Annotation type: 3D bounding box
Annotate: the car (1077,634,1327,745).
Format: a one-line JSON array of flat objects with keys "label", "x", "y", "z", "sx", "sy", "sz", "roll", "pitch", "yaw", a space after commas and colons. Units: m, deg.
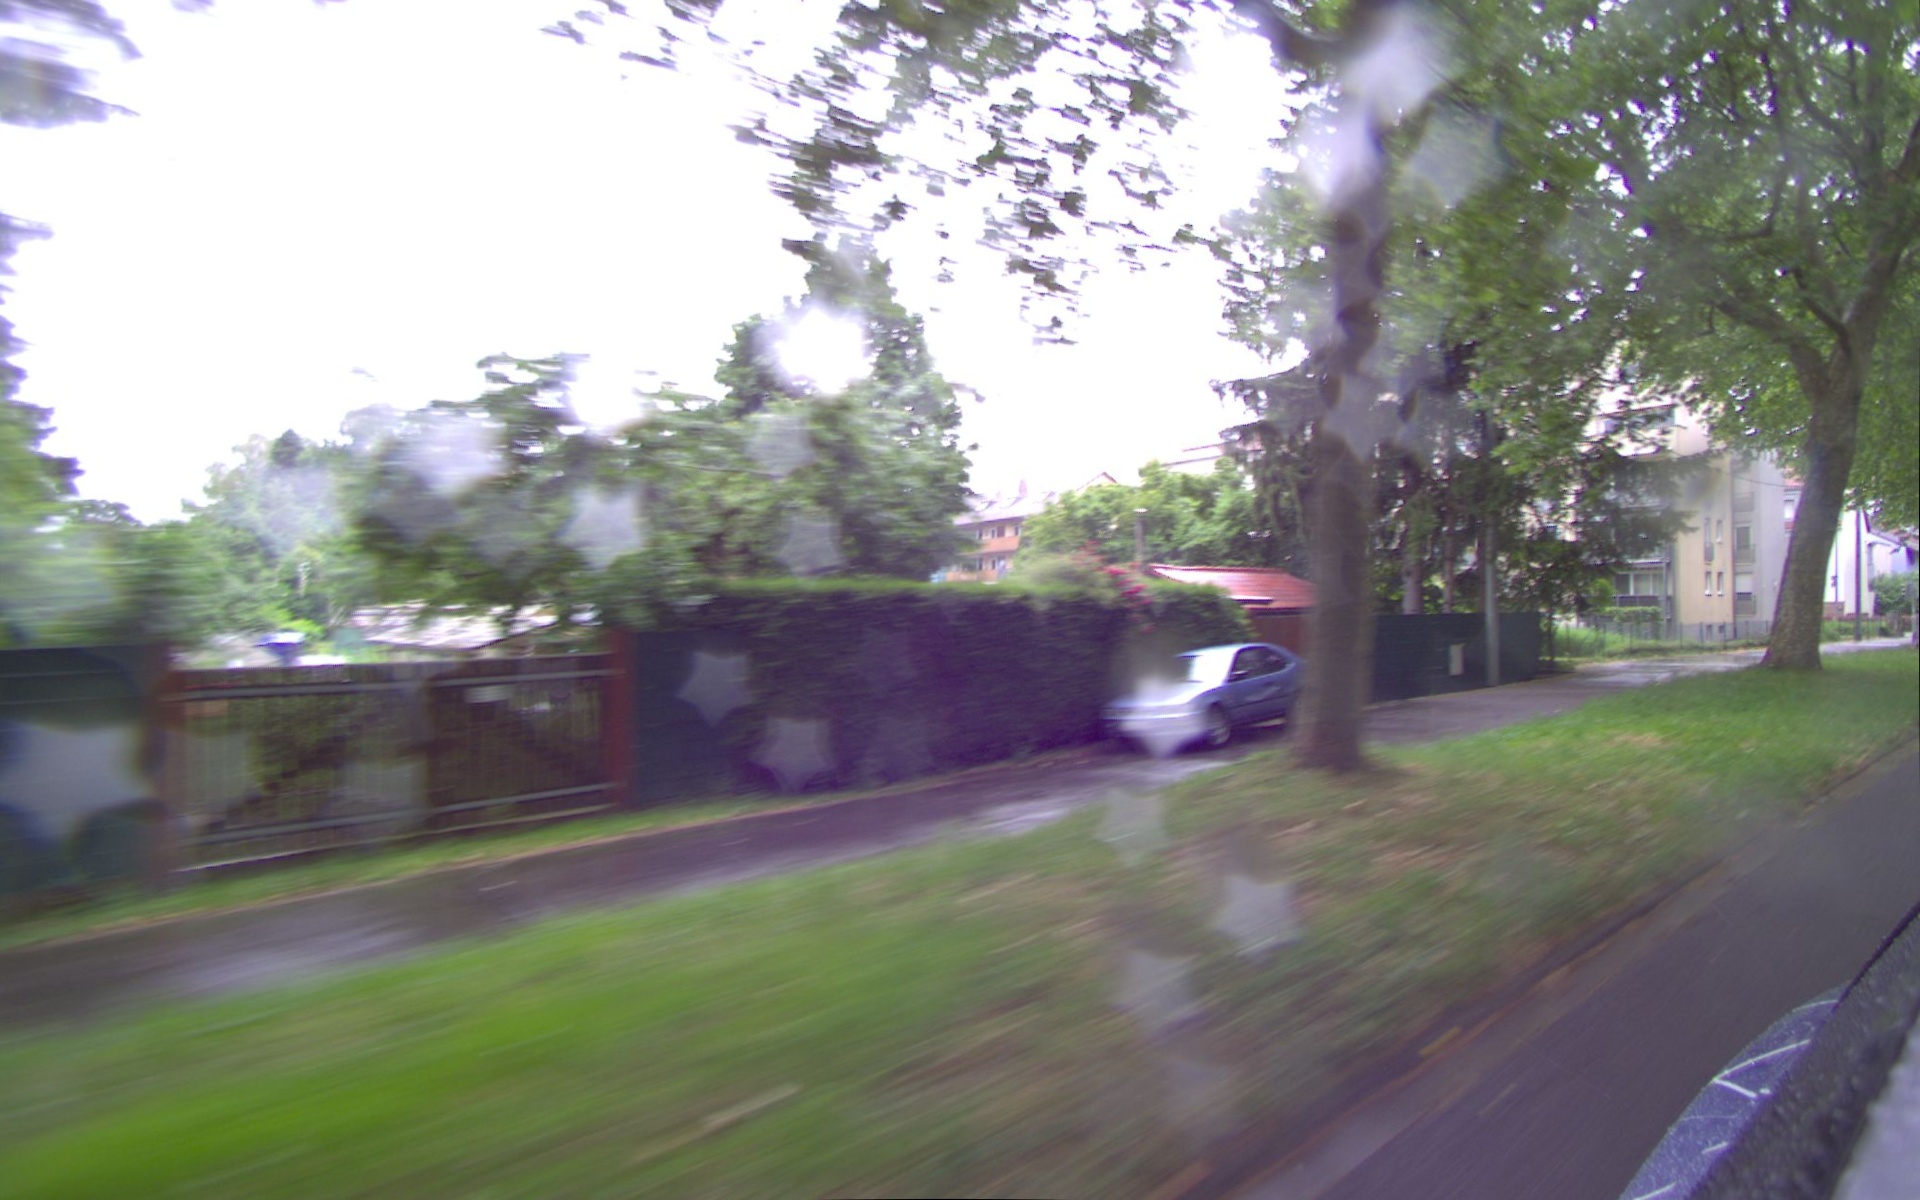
[{"label": "car", "x": 3.769, "y": 1.296, "z": 15.423, "sx": 3.934, "sy": 1.342, "sz": 1.796, "roll": -1, "pitch": -4, "yaw": -44}]
